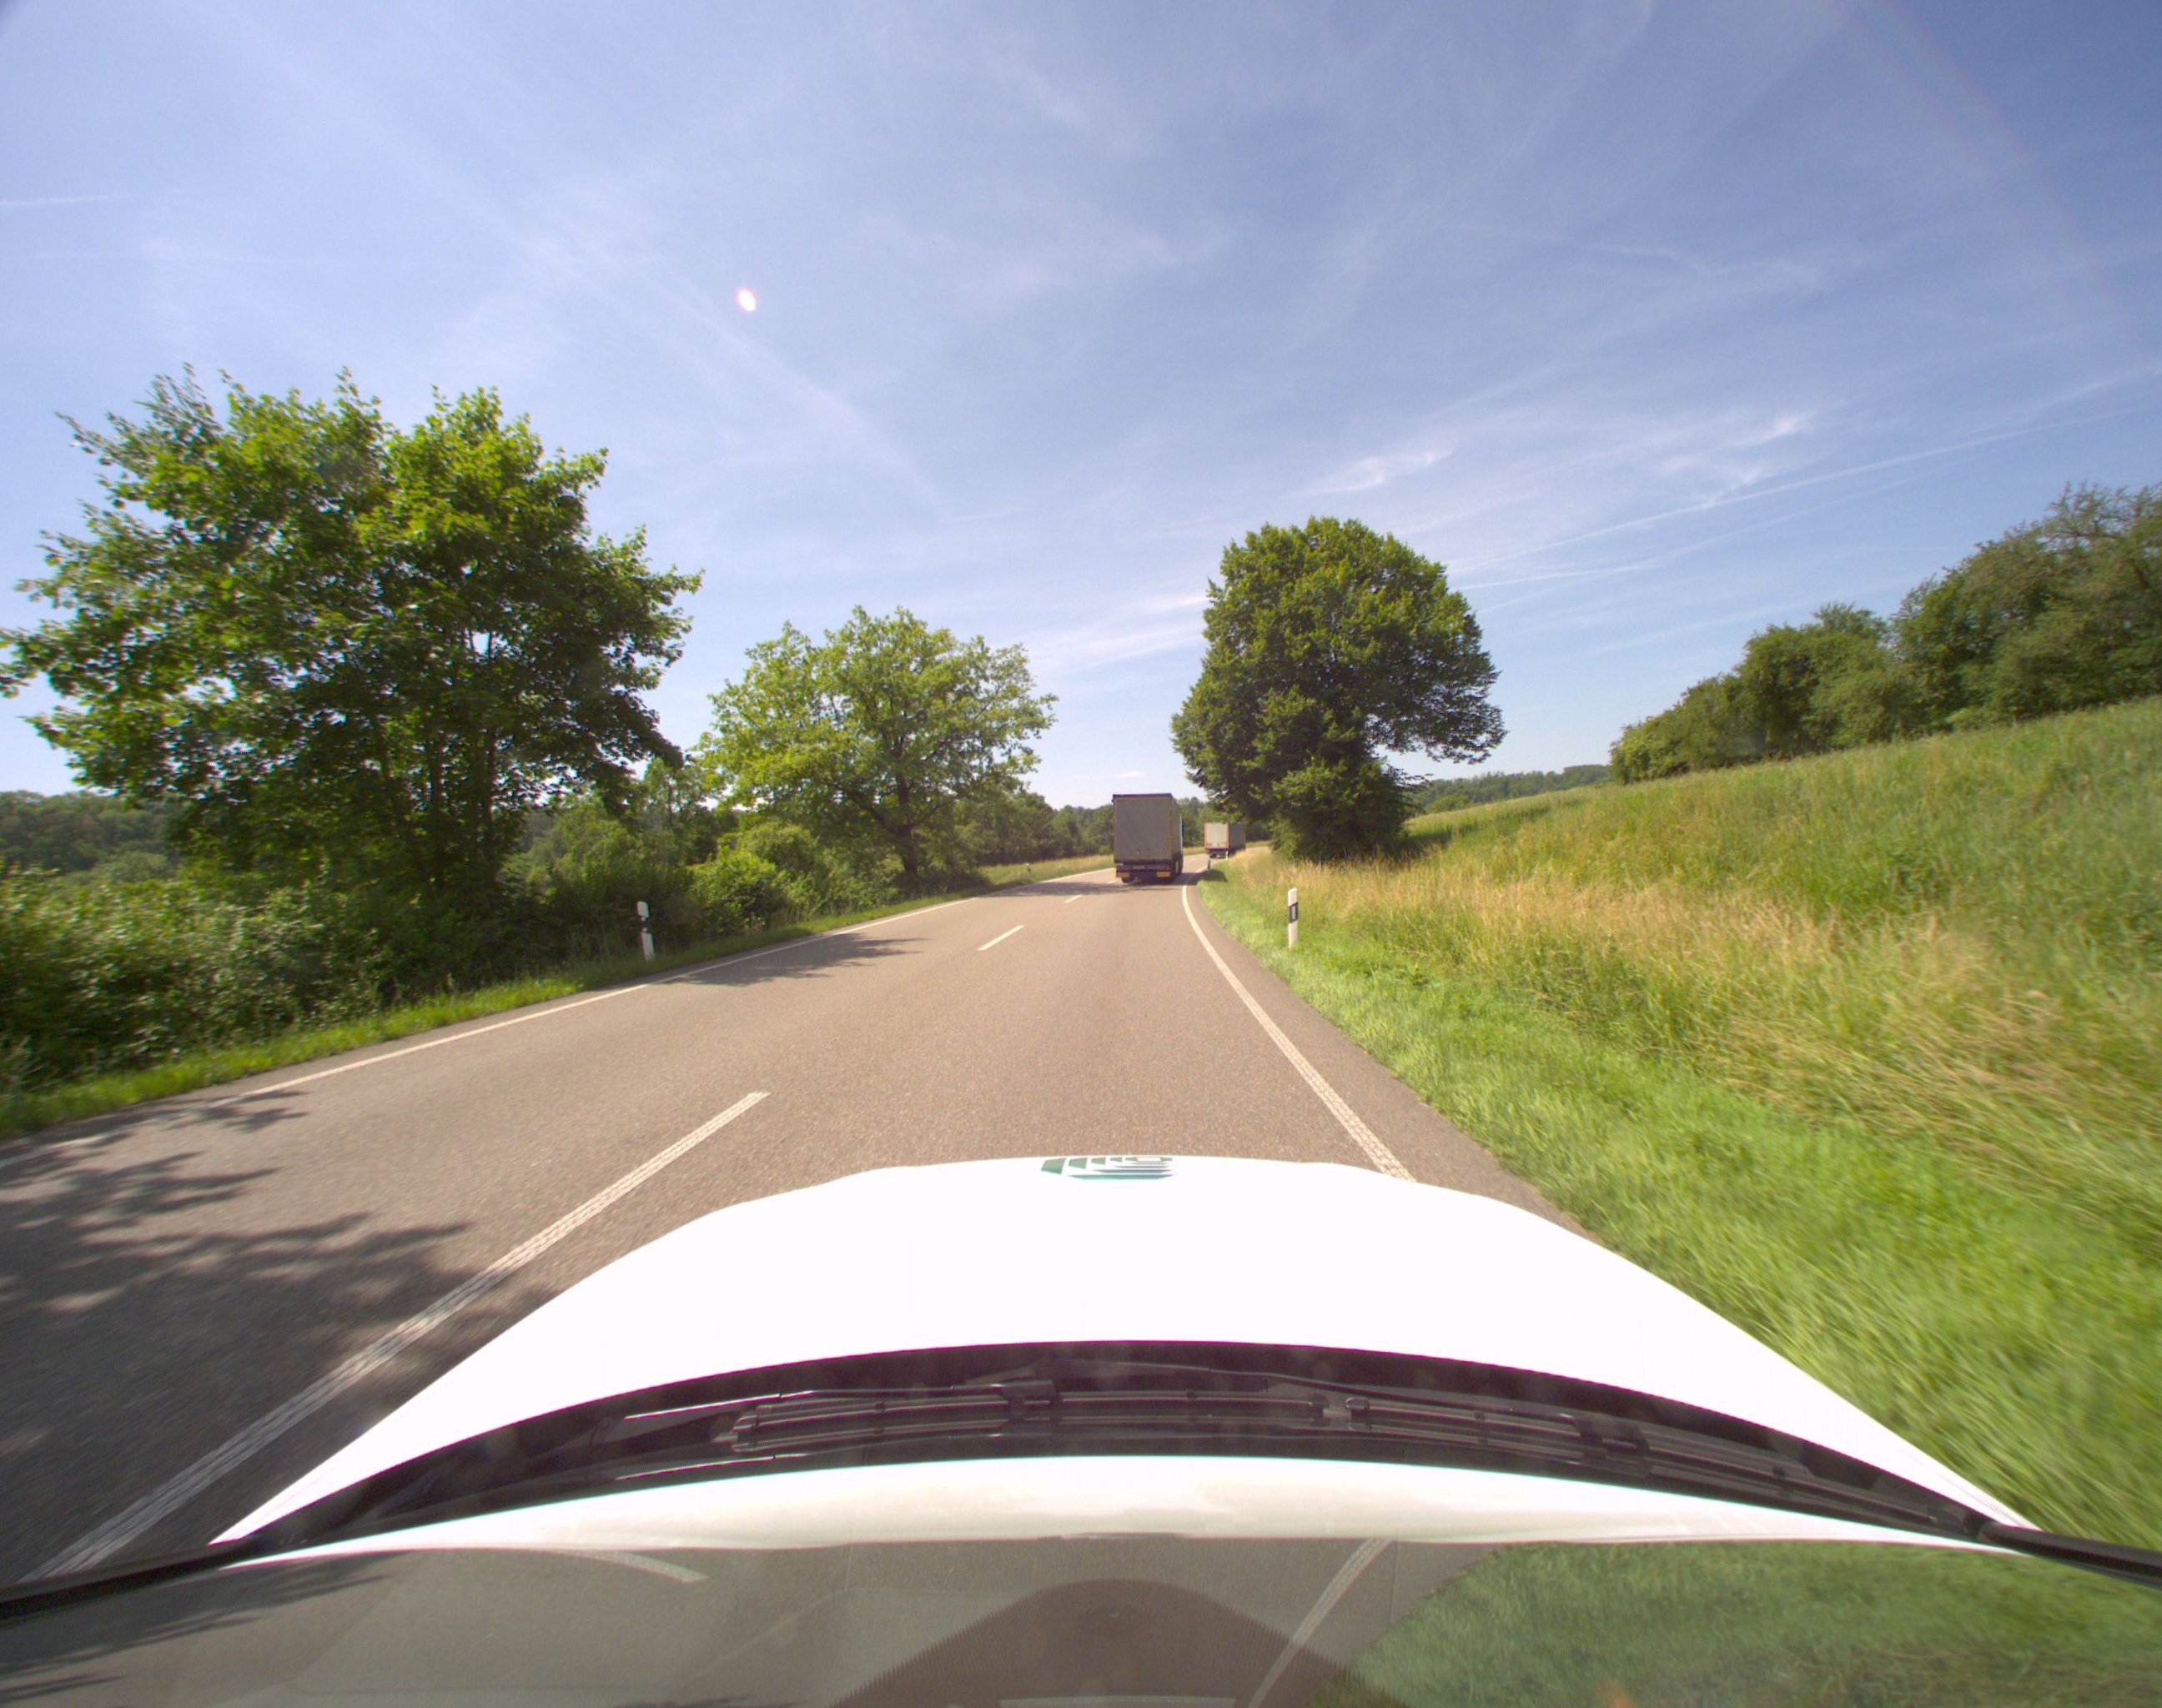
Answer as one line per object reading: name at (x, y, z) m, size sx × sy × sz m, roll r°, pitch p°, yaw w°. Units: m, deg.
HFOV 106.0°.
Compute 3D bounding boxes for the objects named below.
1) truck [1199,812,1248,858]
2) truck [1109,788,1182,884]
truck at (16.738, -2.126, 94.137) m, size 3.080 × 4.705 × 16.668 m, roll -2°, pitch 0°, yaw 18°
truck at (3.707, -0.837, 42.598) m, size 2.786 × 4.068 × 15.360 m, roll -1°, pitch 0°, yaw 8°
